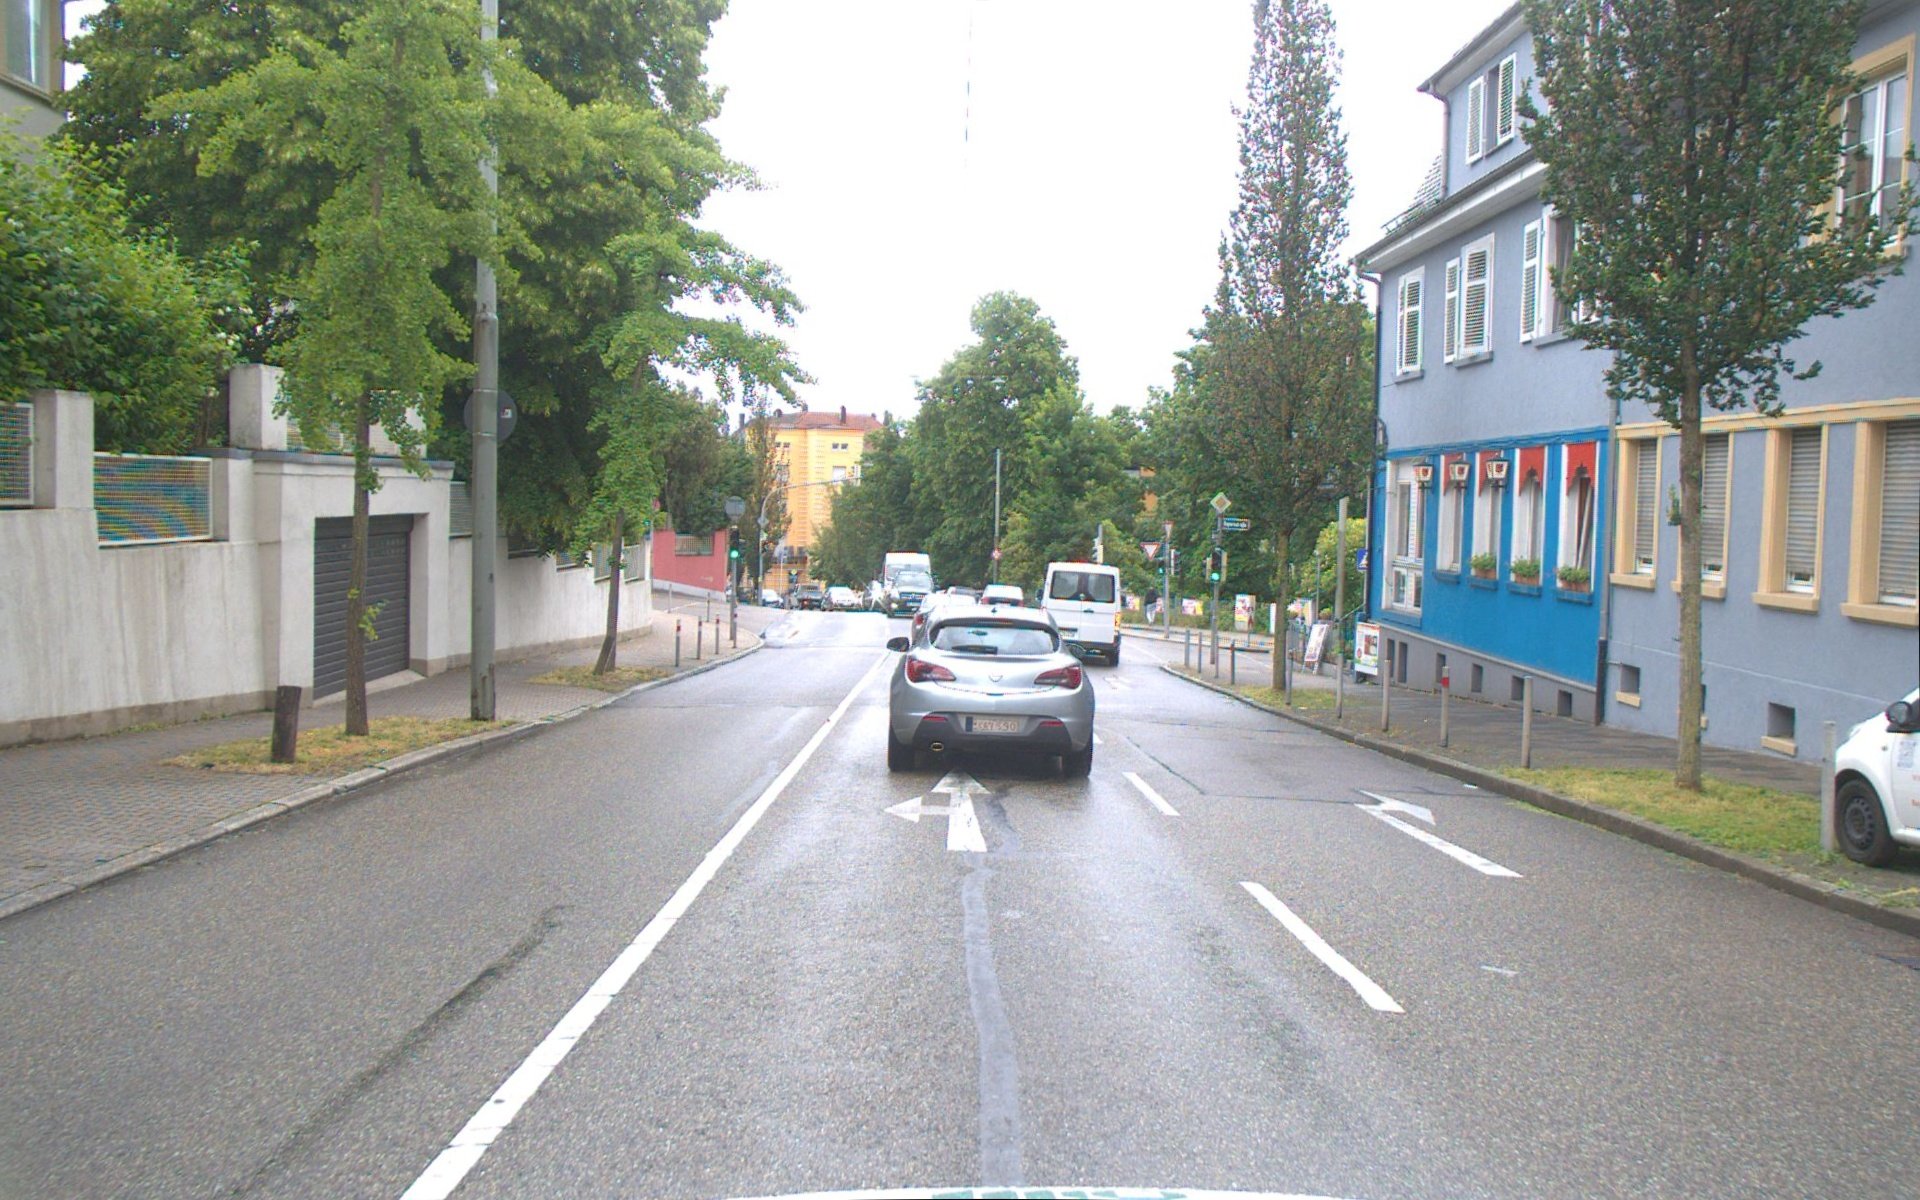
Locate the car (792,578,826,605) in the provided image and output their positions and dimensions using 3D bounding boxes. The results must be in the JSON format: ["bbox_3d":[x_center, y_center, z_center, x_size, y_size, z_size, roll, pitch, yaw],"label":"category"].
[{"bbox_3d":[-11.314,-0.619,123.807,1.753,1.887,3.981,2,-1,-17],"label":"car"}]

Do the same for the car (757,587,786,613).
[{"bbox_3d":[-12.578,-0.007,110.350,1.817,1.512,5.361,1,2,-6],"label":"car"}]

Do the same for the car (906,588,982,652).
[{"bbox_3d":[-0.395,0.523,40.081,1.740,1.455,3.784,0,-2,-1],"label":"car"}]

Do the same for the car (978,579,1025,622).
[{"bbox_3d":[1.385,0.004,56.483,1.355,1.436,3.455,1,0,-3],"label":"car"}]

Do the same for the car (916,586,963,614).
[{"bbox_3d":[-1.269,0.035,100.114,1.786,1.521,3.982,-4,0,-16],"label":"car"}]

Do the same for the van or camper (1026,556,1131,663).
[{"bbox_3d":[2.852,0.205,40.938,2.061,2.366,5.416,3,0,-1],"label":"van or camper"}]

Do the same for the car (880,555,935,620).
[{"bbox_3d":[-2.223,-0.496,69.019,2.075,2.590,5.535,1,0,-4],"label":"car"}]

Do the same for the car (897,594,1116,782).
[{"bbox_3d":[0.373,0.731,15.802,1.778,1.454,4.000,2,1,-1],"label":"car"}]

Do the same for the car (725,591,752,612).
[{"bbox_3d":[-19.215,0.125,143.286,1.814,1.611,4.264,6,-1,-13],"label":"car"}]

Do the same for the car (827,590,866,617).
[{"bbox_3d":[-6.794,0.222,98.715,1.742,1.523,4.250,1,0,-12],"label":"car"}]

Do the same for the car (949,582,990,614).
[{"bbox_3d":[0.460,-0.082,80.301,1.589,1.512,3.431,1,-1,-6],"label":"car"}]

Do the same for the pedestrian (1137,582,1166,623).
[{"bbox_3d":[7.841,0.110,67.715,0.756,1.633,0.957,-1,0,-27],"label":"pedestrian"}]

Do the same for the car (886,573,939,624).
[{"bbox_3d":[-1.770,-0.088,60.577,1.785,1.680,4.344,3,1,-3],"label":"car"}]

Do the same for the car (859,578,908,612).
[{"bbox_3d":[-3.919,-0.247,84.083,1.841,1.602,4.574,2,0,-11],"label":"car"}]

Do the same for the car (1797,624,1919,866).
[{"bbox_3d":[6.613,0.893,9.619,1.555,1.436,3.453,0,0,-5],"label":"car"}]
